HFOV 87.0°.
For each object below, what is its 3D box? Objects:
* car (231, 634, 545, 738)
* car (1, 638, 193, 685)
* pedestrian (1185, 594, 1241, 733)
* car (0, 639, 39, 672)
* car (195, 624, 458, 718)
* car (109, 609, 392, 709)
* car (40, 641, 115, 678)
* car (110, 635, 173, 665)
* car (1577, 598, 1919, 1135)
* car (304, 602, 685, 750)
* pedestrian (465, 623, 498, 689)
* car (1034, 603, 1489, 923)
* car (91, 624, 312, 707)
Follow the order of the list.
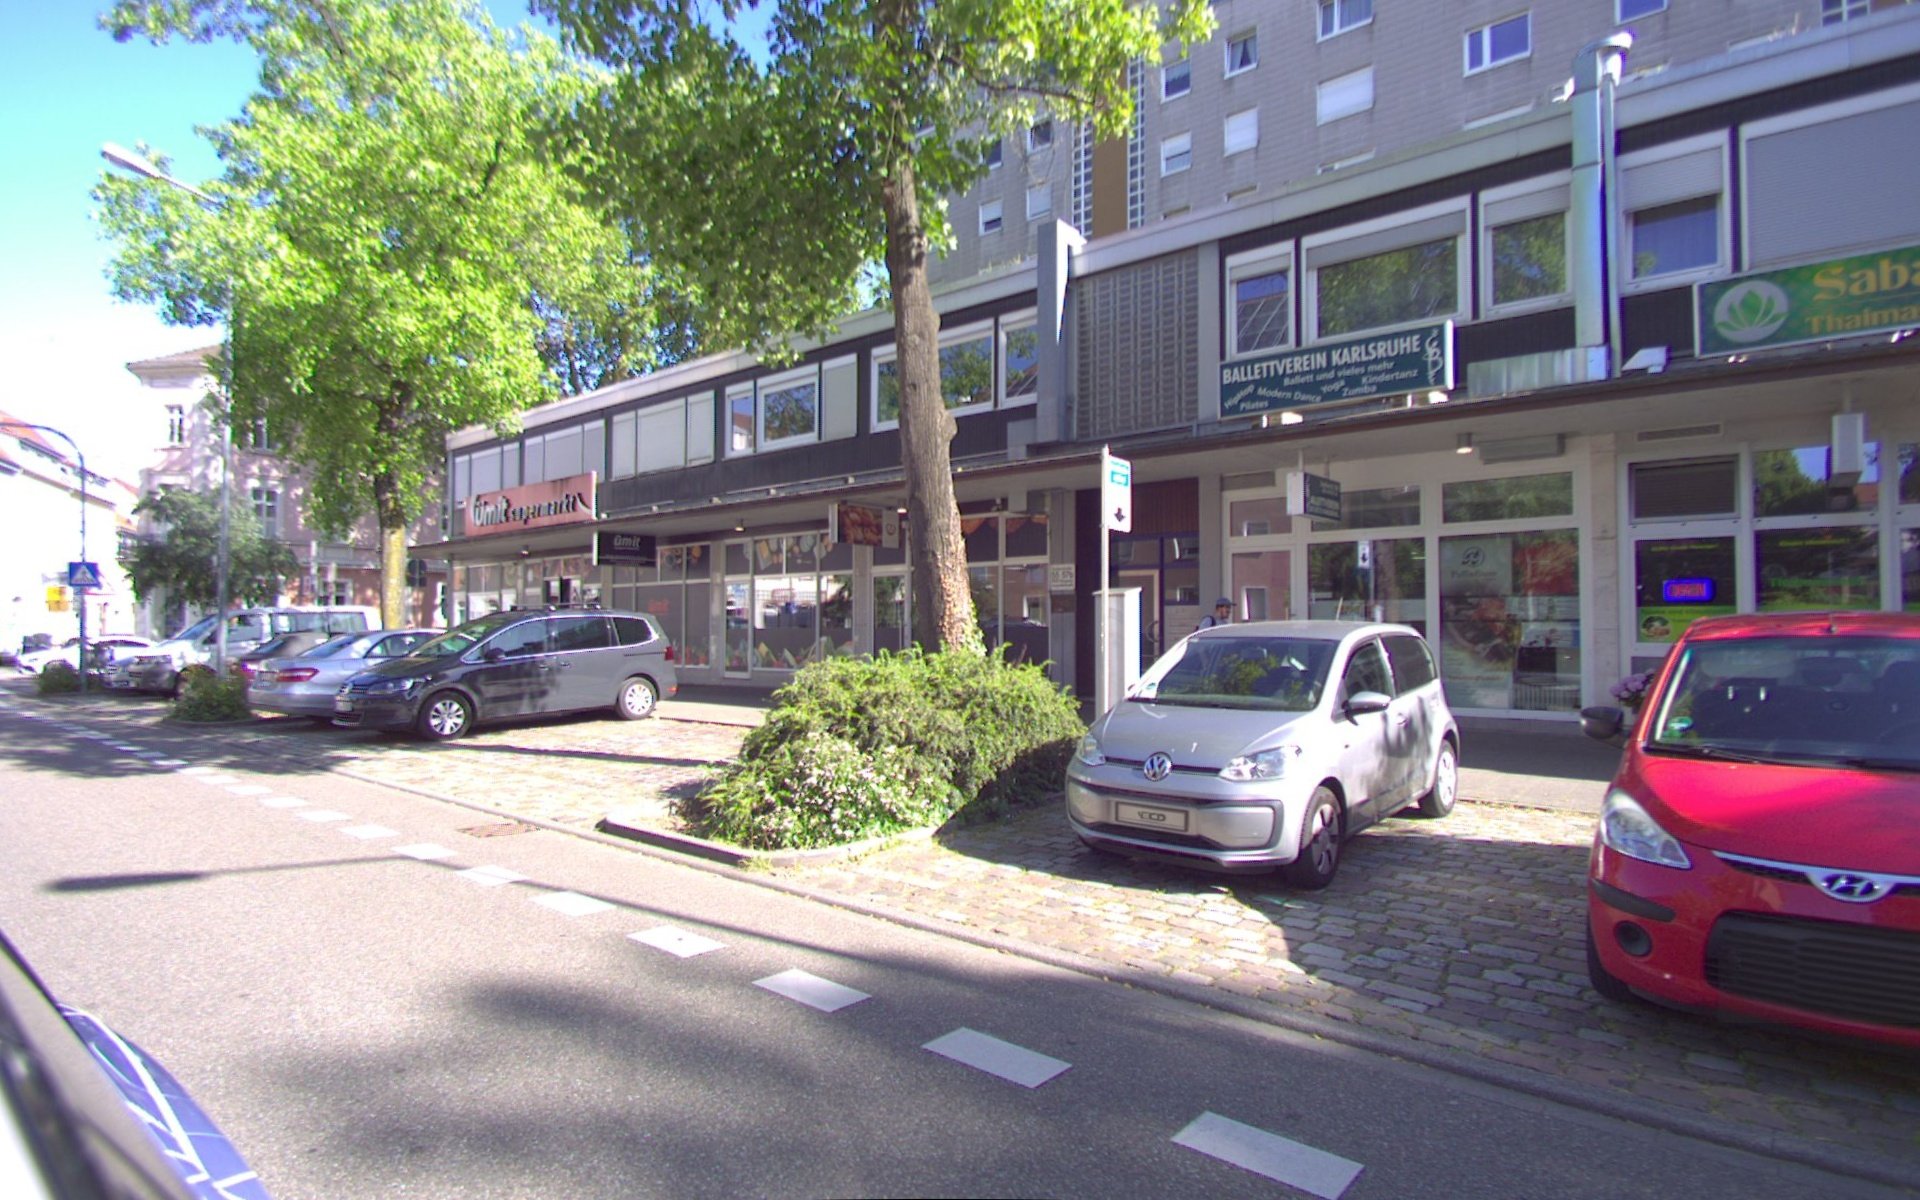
[{"bbox_3d":[-8.874,1.249,15.987,1.757,1.409,3.948,-2,-3,38],"label":"car"},{"bbox_3d":[-29.538,2.061,34.774,1.998,1.436,4.741,-2,-3,40],"label":"car"},{"bbox_3d":[3.150,0.779,12.603,0.532,1.678,0.439,-2,-3,41],"label":"pedestrian"},{"bbox_3d":[-44.077,2.530,46.457,1.966,1.475,4.011,1,-3,-32],"label":"car"},{"bbox_3d":[-12.165,1.284,19.644,1.735,1.431,3.949,-2,0,38],"label":"car"},{"bbox_3d":[-15.887,1.233,22.936,1.907,1.984,4.934,-2,-2,38],"label":"car"},{"bbox_3d":[-42.136,2.812,48.394,1.645,1.650,4.061,1,-2,-26],"label":"car"},{"bbox_3d":[-46.023,2.791,57.008,1.827,1.674,4.013,1,-2,-25],"label":"car"},{"bbox_3d":[3.925,0.786,4.351,1.660,1.566,3.522,-2,-1,39],"label":"car"},{"bbox_3d":[-6.577,0.959,14.788,1.872,1.790,4.721,-2,-1,39],"label":"car"},{"bbox_3d":[-11.716,1.354,24.779,0.662,1.567,0.522,-1,-1,41],"label":"pedestrian"},{"bbox_3d":[2.244,0.834,6.943,1.671,1.573,3.549,-2,-1,41],"label":"car"},{"bbox_3d":[-18.096,1.505,24.292,1.756,1.805,3.947,-2,-3,39],"label":"car"}]
